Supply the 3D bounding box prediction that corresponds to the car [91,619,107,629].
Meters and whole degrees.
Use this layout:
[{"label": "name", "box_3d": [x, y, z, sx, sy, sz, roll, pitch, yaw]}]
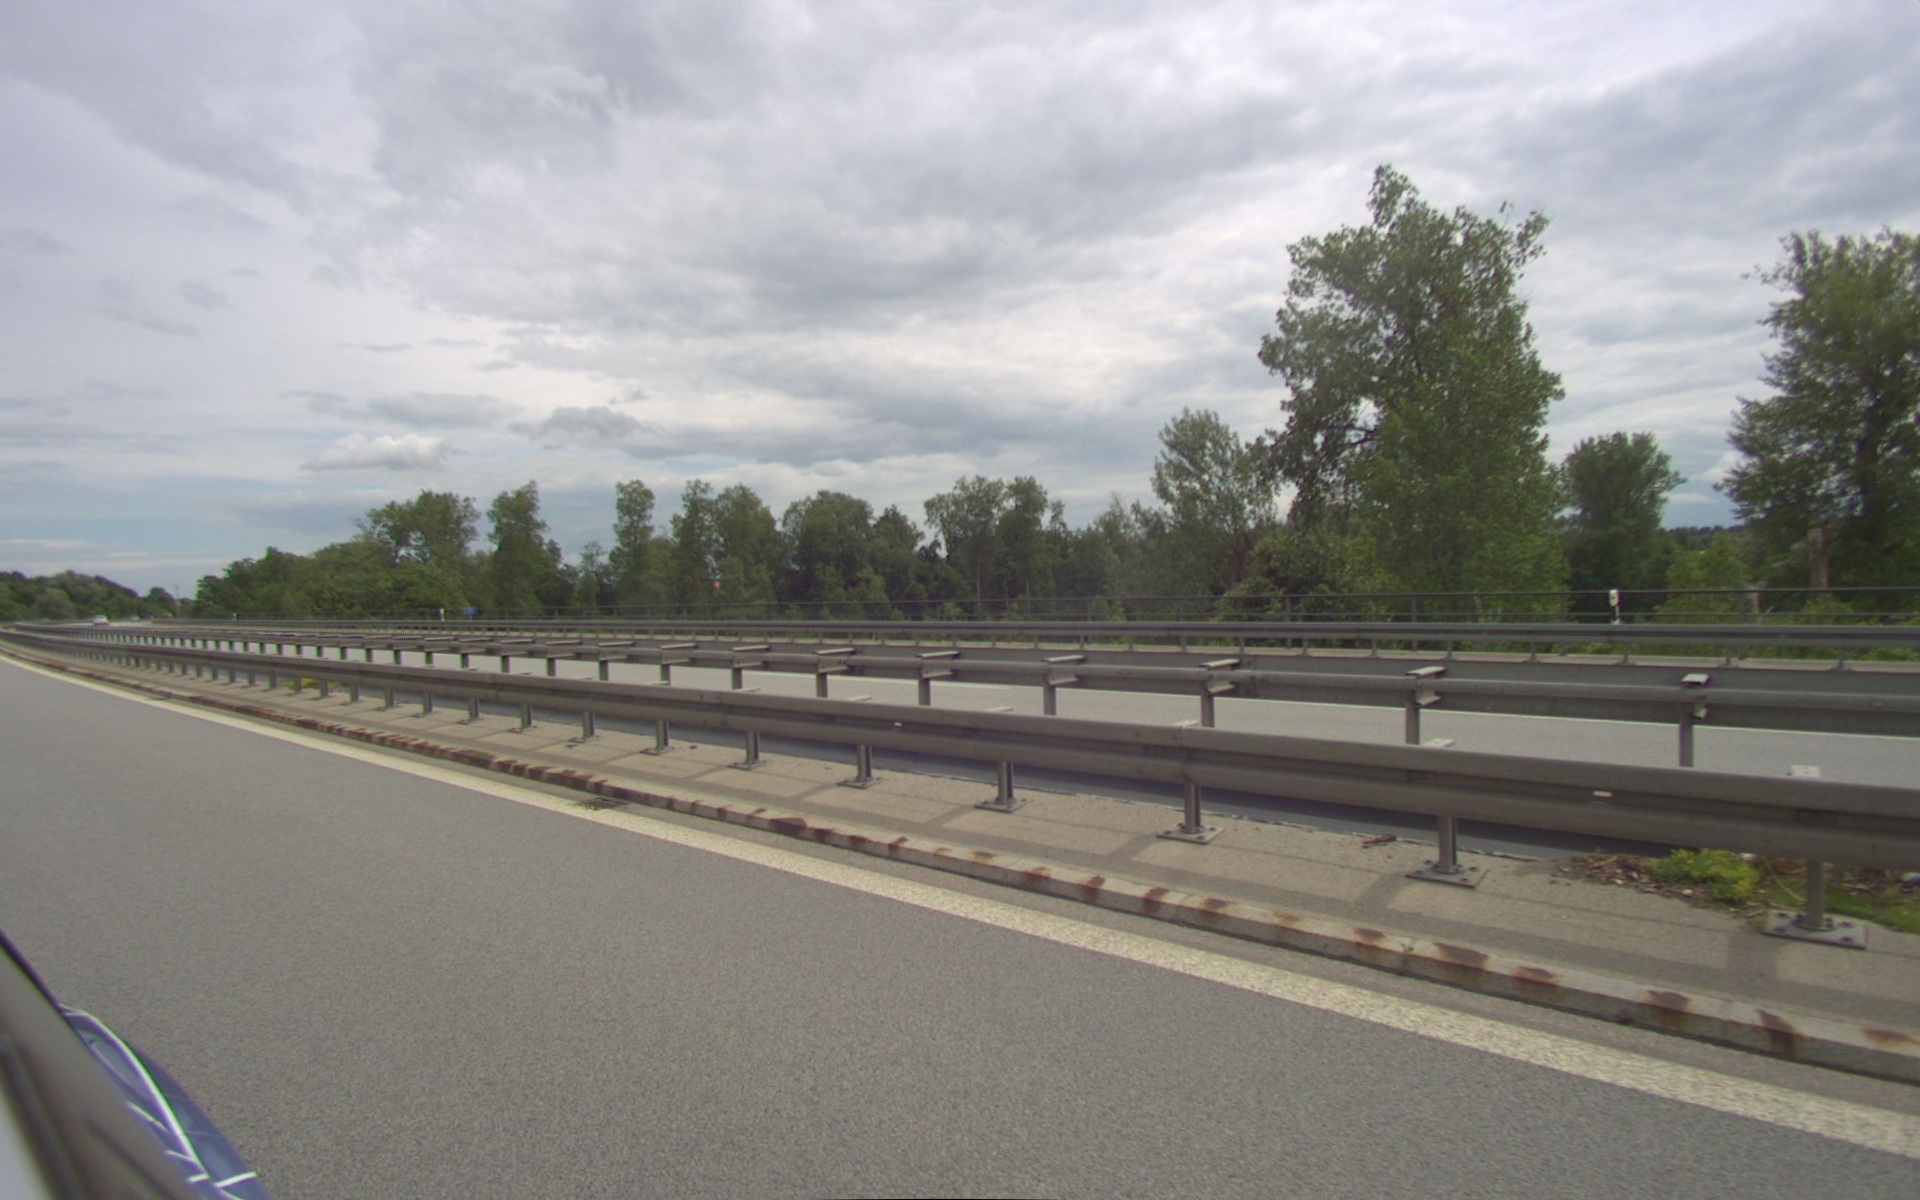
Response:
[{"label": "car", "box_3d": [-129.331, 3.624, 152.003, 4.330, 1.417, 1.514, -1, 0, 45]}]
